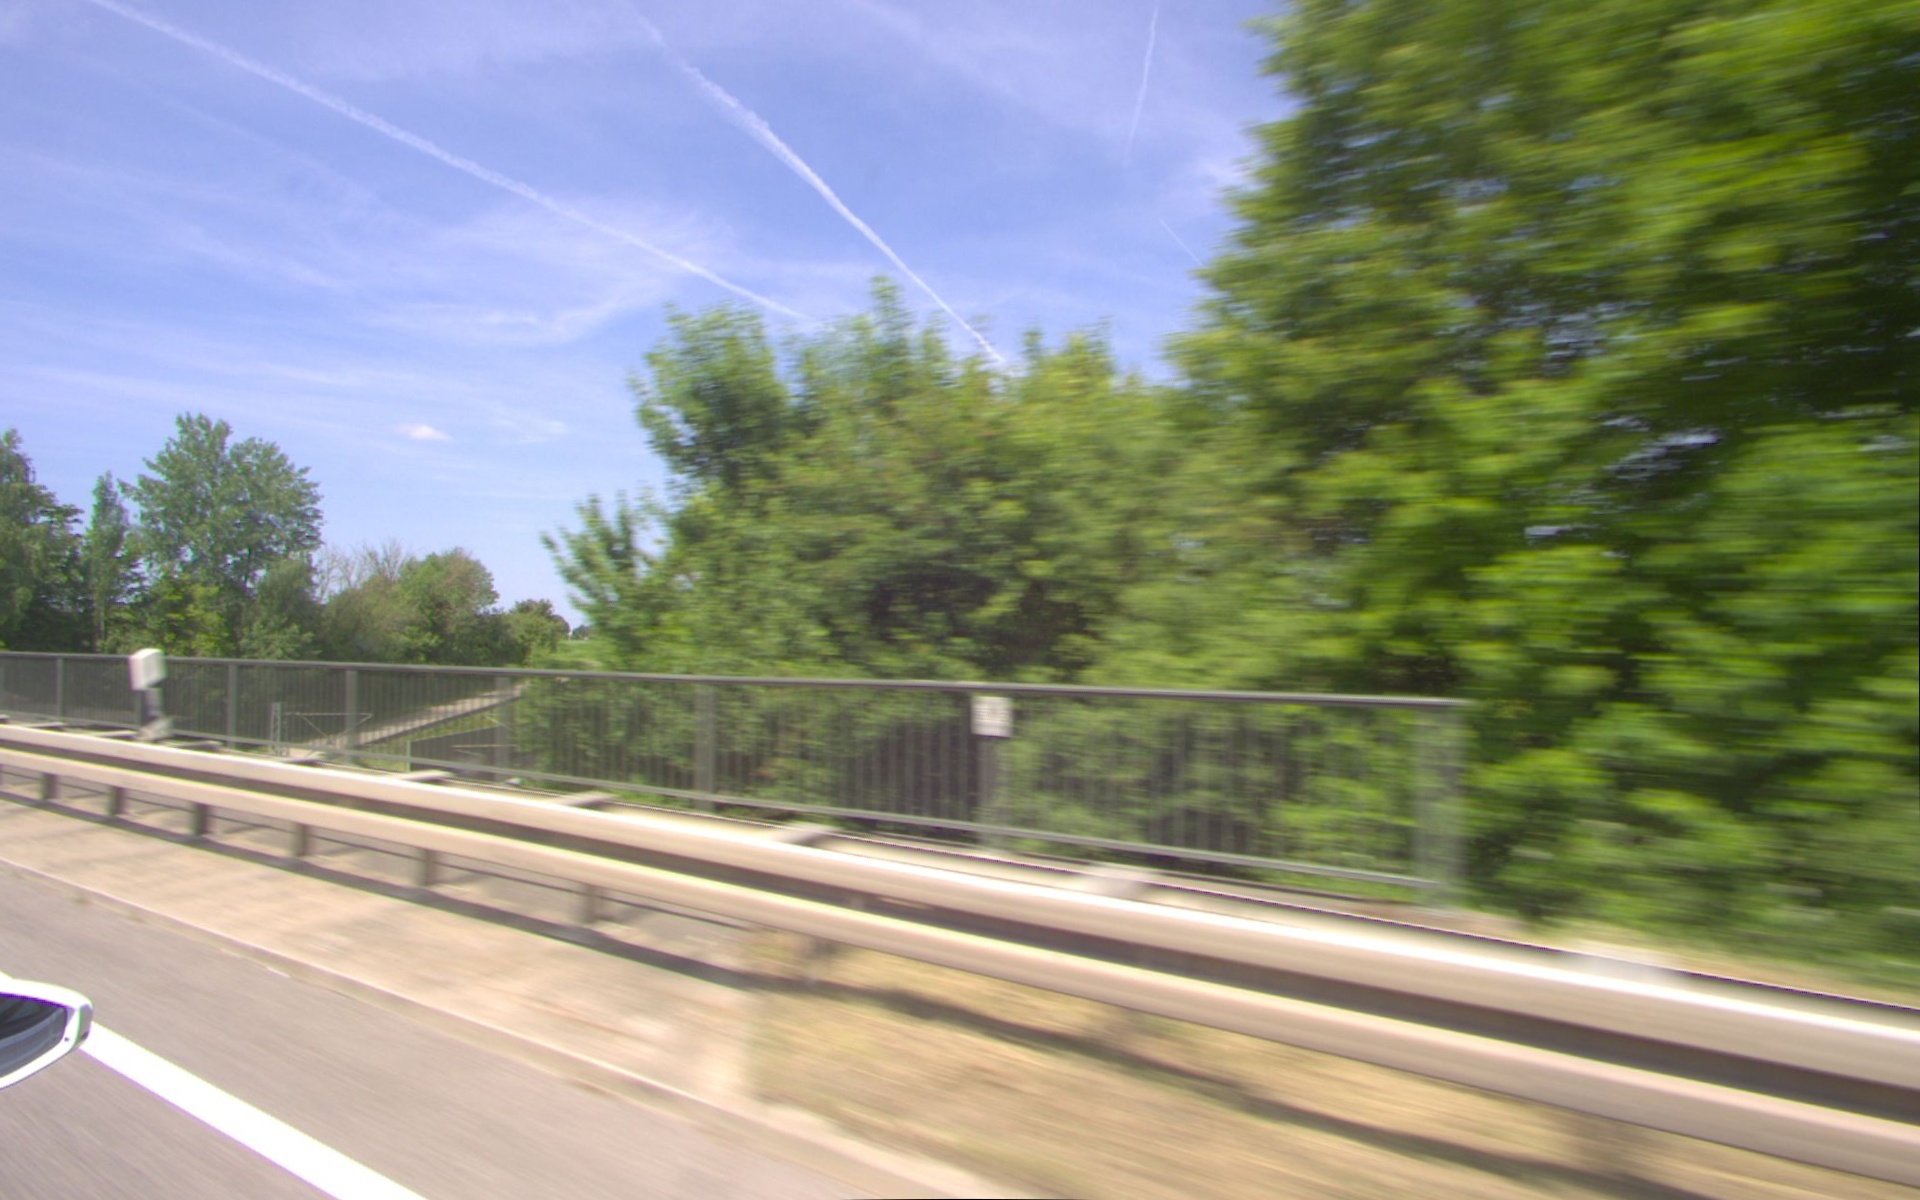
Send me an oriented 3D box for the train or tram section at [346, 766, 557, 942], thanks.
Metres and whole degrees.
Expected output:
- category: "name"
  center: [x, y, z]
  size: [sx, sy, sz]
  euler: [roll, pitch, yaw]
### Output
- category: "train or tram section"
  center: [-19.443, 9.489, 39.598]
  size: [2.504, 4.283, 12.458]
  euler: [1, -2, -3]
